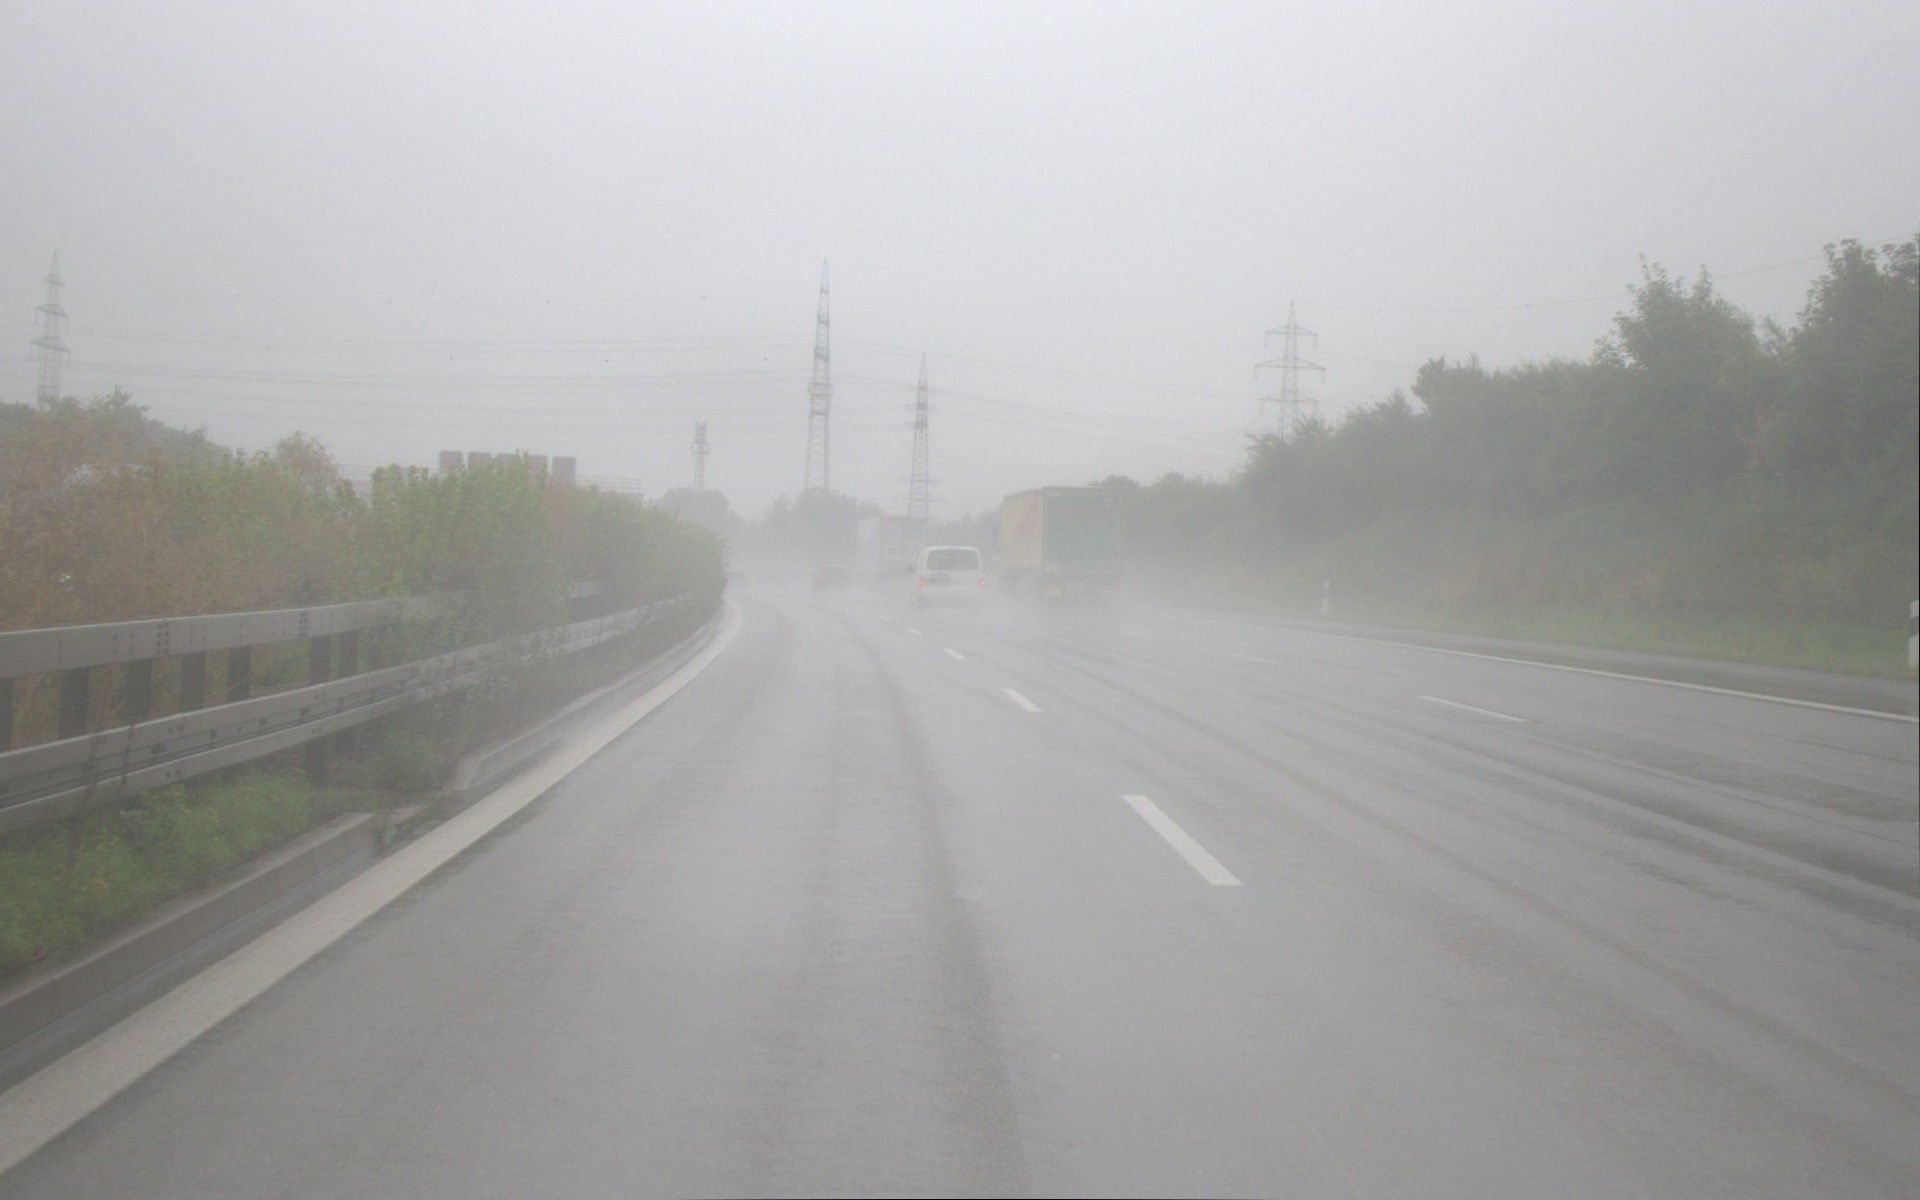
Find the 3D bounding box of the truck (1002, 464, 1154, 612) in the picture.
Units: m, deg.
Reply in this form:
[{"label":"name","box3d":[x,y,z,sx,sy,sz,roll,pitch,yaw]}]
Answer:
[{"label":"truck","box3d":[3.807,-2.004,116.096,4.189,4.614,16.106,1,0,-1]}]

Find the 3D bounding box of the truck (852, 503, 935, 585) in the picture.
[{"label":"truck","box3d":[-3.651,-3.056,186.536,3.231,4.297,8.839,0,1,-10]}]

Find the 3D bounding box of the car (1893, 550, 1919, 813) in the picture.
[{"label":"car","box3d":[6.982,0.514,19.115,1.993,1.613,4.993,0,0,-3]}]

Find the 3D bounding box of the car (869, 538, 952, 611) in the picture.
[{"label":"car","box3d":[-1.416,-0.727,96.820,1.993,2.007,4.001,0,1,-5]}]
